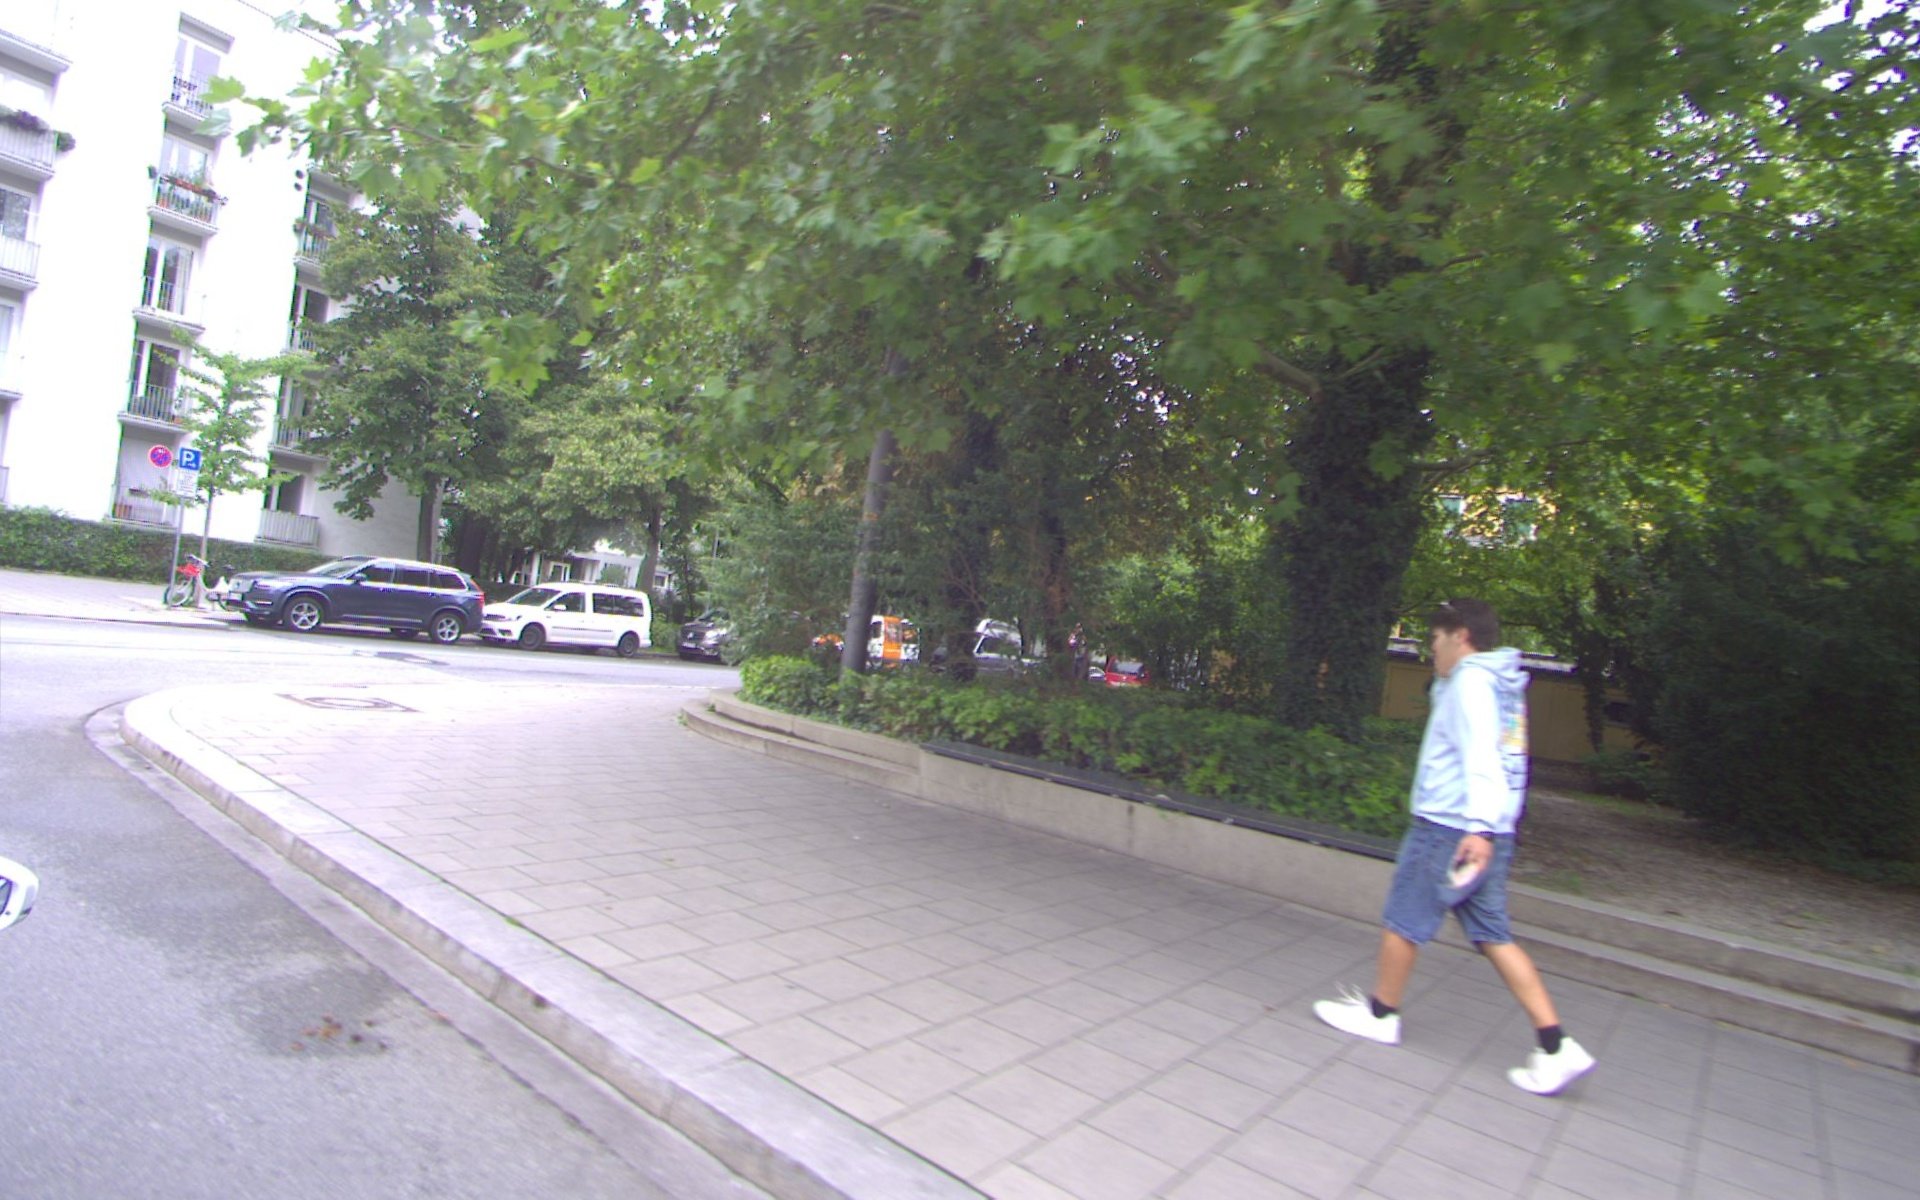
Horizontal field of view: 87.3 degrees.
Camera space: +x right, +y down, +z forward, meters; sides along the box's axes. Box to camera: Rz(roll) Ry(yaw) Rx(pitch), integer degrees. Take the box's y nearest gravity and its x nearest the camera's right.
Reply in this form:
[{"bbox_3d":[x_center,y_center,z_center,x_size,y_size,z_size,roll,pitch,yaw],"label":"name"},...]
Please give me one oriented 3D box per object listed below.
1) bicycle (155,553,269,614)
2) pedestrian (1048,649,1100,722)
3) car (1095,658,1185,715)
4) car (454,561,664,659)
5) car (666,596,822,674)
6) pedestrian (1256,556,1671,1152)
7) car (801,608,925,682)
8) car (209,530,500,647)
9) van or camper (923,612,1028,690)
[{"bbox_3d":[-15.944,-0.338,21.497,0.483,1.061,1.831,7,-2,25],"label":"bicycle"},{"bbox_3d":[3.152,2.364,27.695,0.862,1.852,1.051,7,-1,30],"label":"pedestrian"},{"bbox_3d":[7.129,3.426,39.459,1.963,1.859,4.712,6,-3,28],"label":"car"},{"bbox_3d":[-10.282,0.344,26.238,1.805,1.939,4.845,5,-3,30],"label":"car"},{"bbox_3d":[-6.787,1.188,32.236,1.860,1.954,5.208,6,-3,27],"label":"car"},{"bbox_3d":[1.885,0.814,3.769,1.037,1.791,0.873,6,-2,41],"label":"pedestrian"},{"bbox_3d":[-3.586,1.781,38.417,1.920,2.297,5.241,6,-3,29],"label":"car"},{"bbox_3d":[-12.847,-0.151,21.719,1.967,1.811,4.908,5,-3,31],"label":"car"},{"bbox_3d":[0.822,2.414,46.171,1.973,2.977,6.008,6,-3,29],"label":"van or camper"}]
